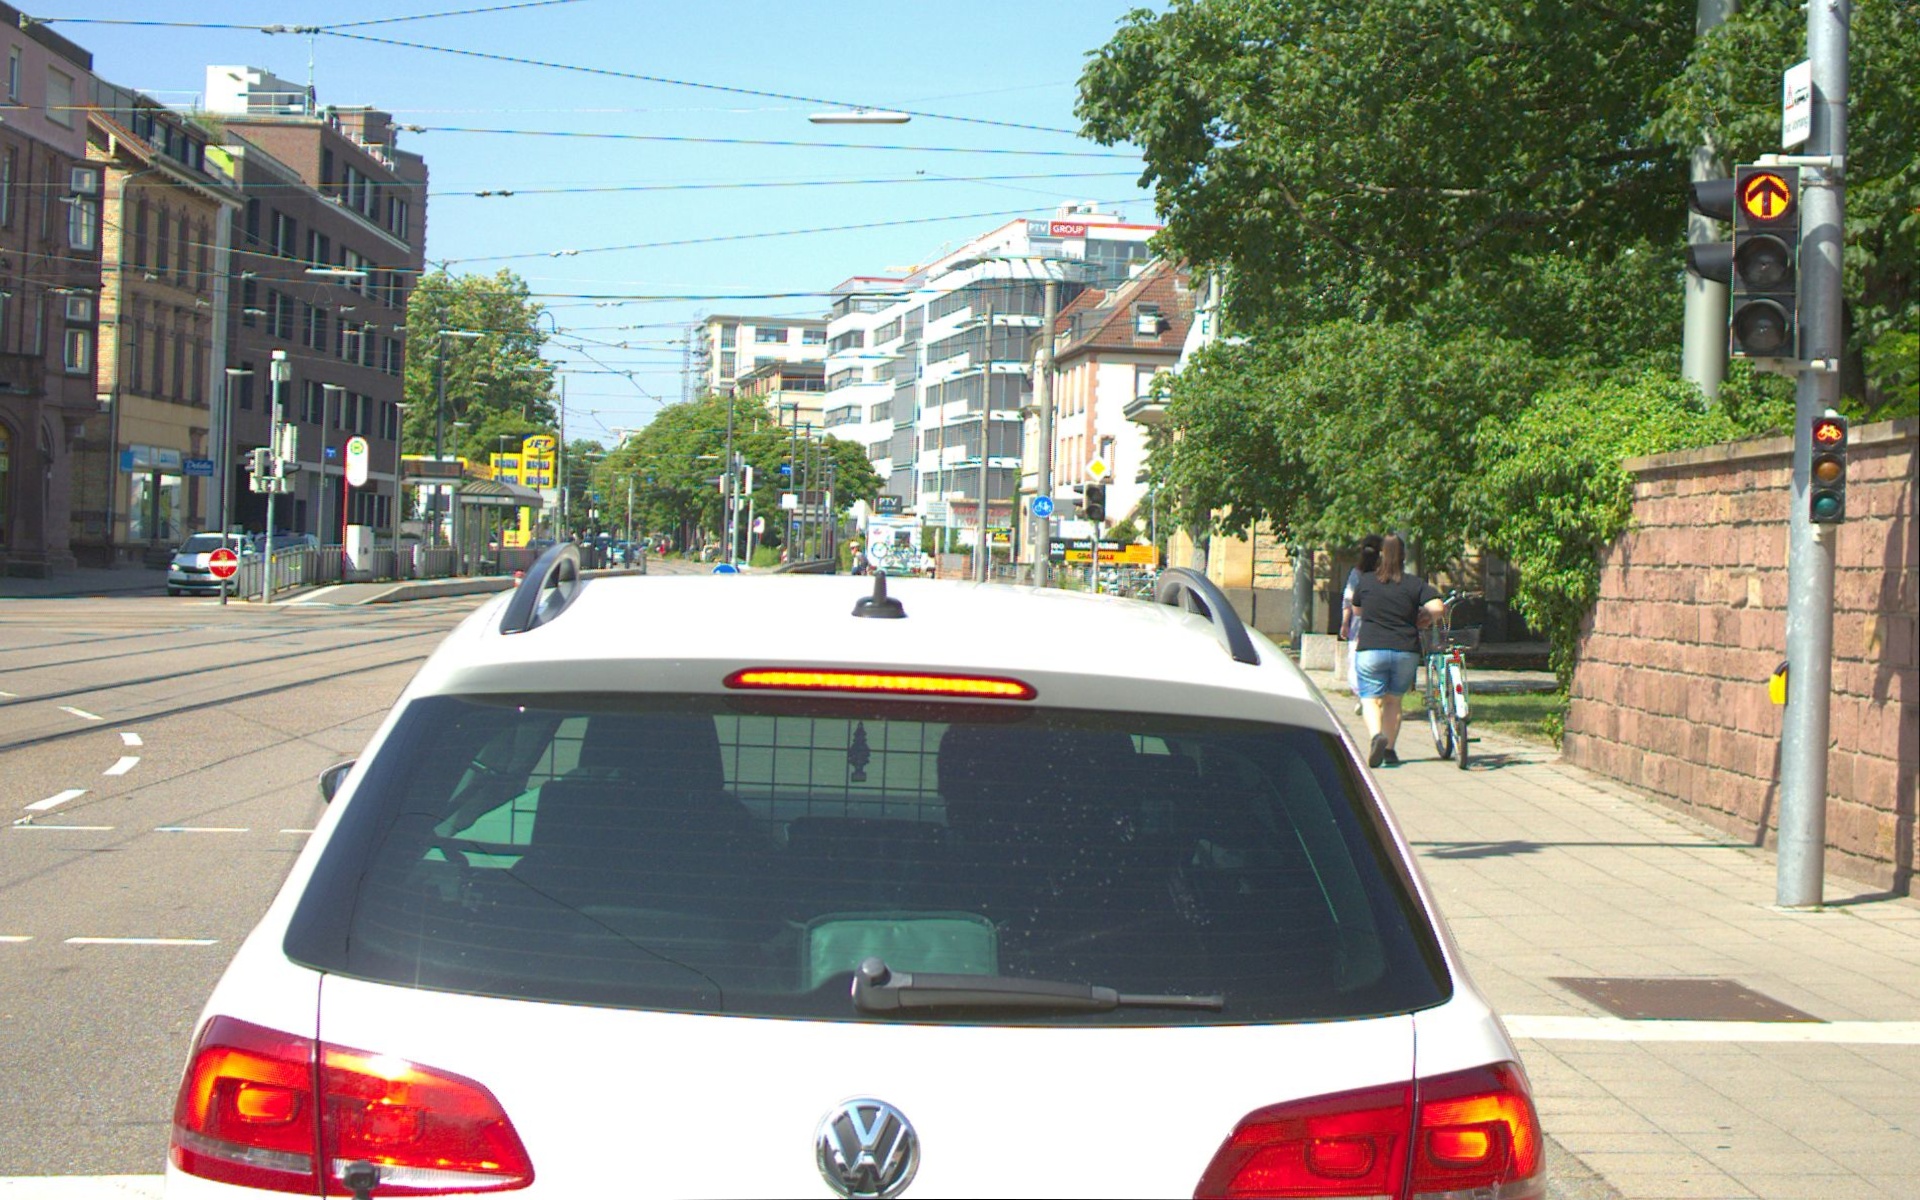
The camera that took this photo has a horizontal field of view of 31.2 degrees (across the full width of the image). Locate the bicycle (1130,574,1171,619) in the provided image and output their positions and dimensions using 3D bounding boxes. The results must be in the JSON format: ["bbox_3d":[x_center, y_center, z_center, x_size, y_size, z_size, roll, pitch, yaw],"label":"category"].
[{"bbox_3d":[5.027,-0.104,90.408,0.726,1.135,2.193,2,1,12],"label":"bicycle"}]

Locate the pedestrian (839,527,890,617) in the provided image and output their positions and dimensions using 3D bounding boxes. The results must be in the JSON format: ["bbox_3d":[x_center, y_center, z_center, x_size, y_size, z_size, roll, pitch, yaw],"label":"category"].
[{"bbox_3d":[-1.949,-0.581,70.510,0.831,1.803,0.829,2,1,10],"label":"pedestrian"}]

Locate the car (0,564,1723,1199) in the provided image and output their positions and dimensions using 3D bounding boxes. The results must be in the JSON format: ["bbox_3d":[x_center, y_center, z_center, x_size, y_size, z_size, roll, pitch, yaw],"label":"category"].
[{"bbox_3d":[-0.154,0.691,5.380,1.752,1.413,3.853,2,1,-1],"label":"car"}]

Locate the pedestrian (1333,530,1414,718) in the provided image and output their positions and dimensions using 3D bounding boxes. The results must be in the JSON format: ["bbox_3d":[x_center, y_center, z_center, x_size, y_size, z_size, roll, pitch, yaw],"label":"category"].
[{"bbox_3d":[3.784,0.211,31.491,0.650,1.676,0.707,2,1,5],"label":"pedestrian"}]

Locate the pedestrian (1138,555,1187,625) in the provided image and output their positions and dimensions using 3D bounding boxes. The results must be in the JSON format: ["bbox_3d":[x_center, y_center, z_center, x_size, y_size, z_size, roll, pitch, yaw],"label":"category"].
[{"bbox_3d":[4.472,-0.229,75.940,0.856,1.505,0.781,2,1,17],"label":"pedestrian"}]

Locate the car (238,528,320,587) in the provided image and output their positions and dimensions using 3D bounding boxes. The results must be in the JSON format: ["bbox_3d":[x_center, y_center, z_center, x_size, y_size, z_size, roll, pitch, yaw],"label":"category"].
[{"bbox_3d":[-17.491,-1.105,88.387,1.572,1.454,3.815,2,1,-4],"label":"car"}]

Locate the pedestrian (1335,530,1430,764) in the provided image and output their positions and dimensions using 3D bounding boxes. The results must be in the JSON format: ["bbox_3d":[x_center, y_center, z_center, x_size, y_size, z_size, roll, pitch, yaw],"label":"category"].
[{"bbox_3d":[2.824,0.306,23.014,0.540,1.543,0.663,0,1,-1],"label":"pedestrian"}]

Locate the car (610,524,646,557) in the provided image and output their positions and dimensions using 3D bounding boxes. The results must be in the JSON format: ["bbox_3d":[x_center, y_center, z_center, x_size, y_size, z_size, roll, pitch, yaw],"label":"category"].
[{"bbox_3d":[-20.697,-3.729,214.649,1.993,2.007,4.000,1,1,-2],"label":"car"}]

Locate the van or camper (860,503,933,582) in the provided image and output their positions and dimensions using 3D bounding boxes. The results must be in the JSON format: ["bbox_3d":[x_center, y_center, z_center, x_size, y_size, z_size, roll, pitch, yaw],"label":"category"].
[{"bbox_3d":[-2.752,-2.459,146.828,2.943,3.169,6.614,2,1,-2],"label":"van or camper"}]

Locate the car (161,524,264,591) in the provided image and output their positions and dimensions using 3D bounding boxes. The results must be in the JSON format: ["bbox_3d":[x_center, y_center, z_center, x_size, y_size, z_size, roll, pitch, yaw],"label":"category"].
[{"bbox_3d":[-17.419,-0.999,80.303,1.625,1.426,3.963,3,1,-2],"label":"car"}]

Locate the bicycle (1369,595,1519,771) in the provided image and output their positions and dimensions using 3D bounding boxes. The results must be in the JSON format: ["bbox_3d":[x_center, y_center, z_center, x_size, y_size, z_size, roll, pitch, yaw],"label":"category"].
[{"bbox_3d":[3.211,0.532,22.947,0.536,1.107,1.807,1,0,-6],"label":"bicycle"}]
